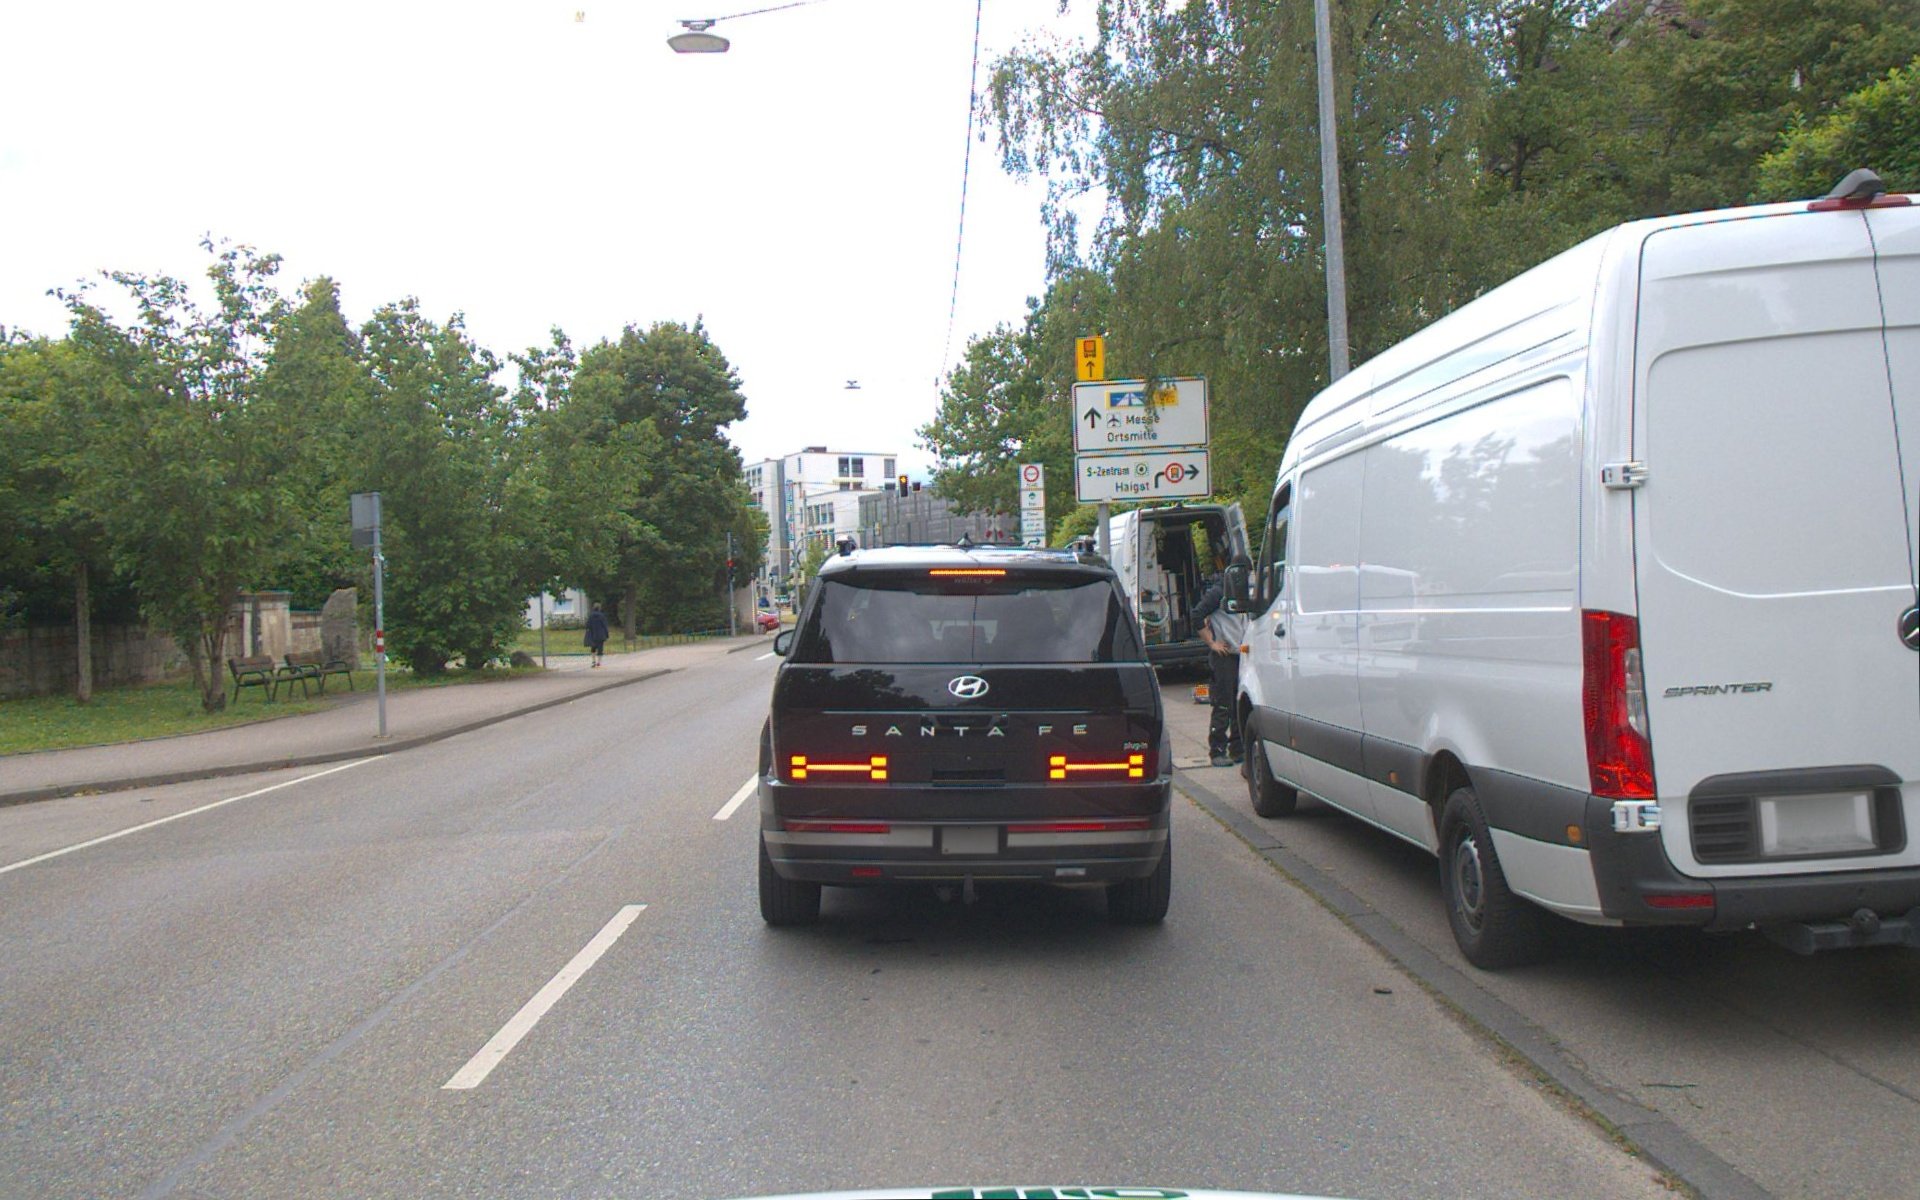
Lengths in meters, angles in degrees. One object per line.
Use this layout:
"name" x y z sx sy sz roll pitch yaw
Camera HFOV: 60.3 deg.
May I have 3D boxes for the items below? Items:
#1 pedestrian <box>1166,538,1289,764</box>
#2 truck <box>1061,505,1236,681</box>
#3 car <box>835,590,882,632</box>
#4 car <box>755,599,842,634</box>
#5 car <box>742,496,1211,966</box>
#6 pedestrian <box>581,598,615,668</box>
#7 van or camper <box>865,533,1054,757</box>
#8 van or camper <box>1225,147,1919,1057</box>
"pedestrian" 2.245 0.420 13.968 0.852 1.828 0.759 -2 0 -2
"truck" 3.072 -0.099 28.093 1.904 2.606 5.212 -3 0 -4
"car" -4.554 0.482 74.804 1.822 1.686 4.305 -4 0 -1
"car" -8.733 0.891 89.343 4.616 1.778 1.997 1 0 -8
"car" 0.038 0.508 8.541 1.851 1.851 3.999 0 0 -1
"pedestrian" -9.240 0.831 42.222 0.724 1.745 0.791 -2 0 -8
"van or camper" -0.033 0.414 17.484 1.719 2.049 3.999 -2 0 -1
"van or camper" 2.890 -0.025 8.180 1.953 2.665 6.540 -2 0 -1
